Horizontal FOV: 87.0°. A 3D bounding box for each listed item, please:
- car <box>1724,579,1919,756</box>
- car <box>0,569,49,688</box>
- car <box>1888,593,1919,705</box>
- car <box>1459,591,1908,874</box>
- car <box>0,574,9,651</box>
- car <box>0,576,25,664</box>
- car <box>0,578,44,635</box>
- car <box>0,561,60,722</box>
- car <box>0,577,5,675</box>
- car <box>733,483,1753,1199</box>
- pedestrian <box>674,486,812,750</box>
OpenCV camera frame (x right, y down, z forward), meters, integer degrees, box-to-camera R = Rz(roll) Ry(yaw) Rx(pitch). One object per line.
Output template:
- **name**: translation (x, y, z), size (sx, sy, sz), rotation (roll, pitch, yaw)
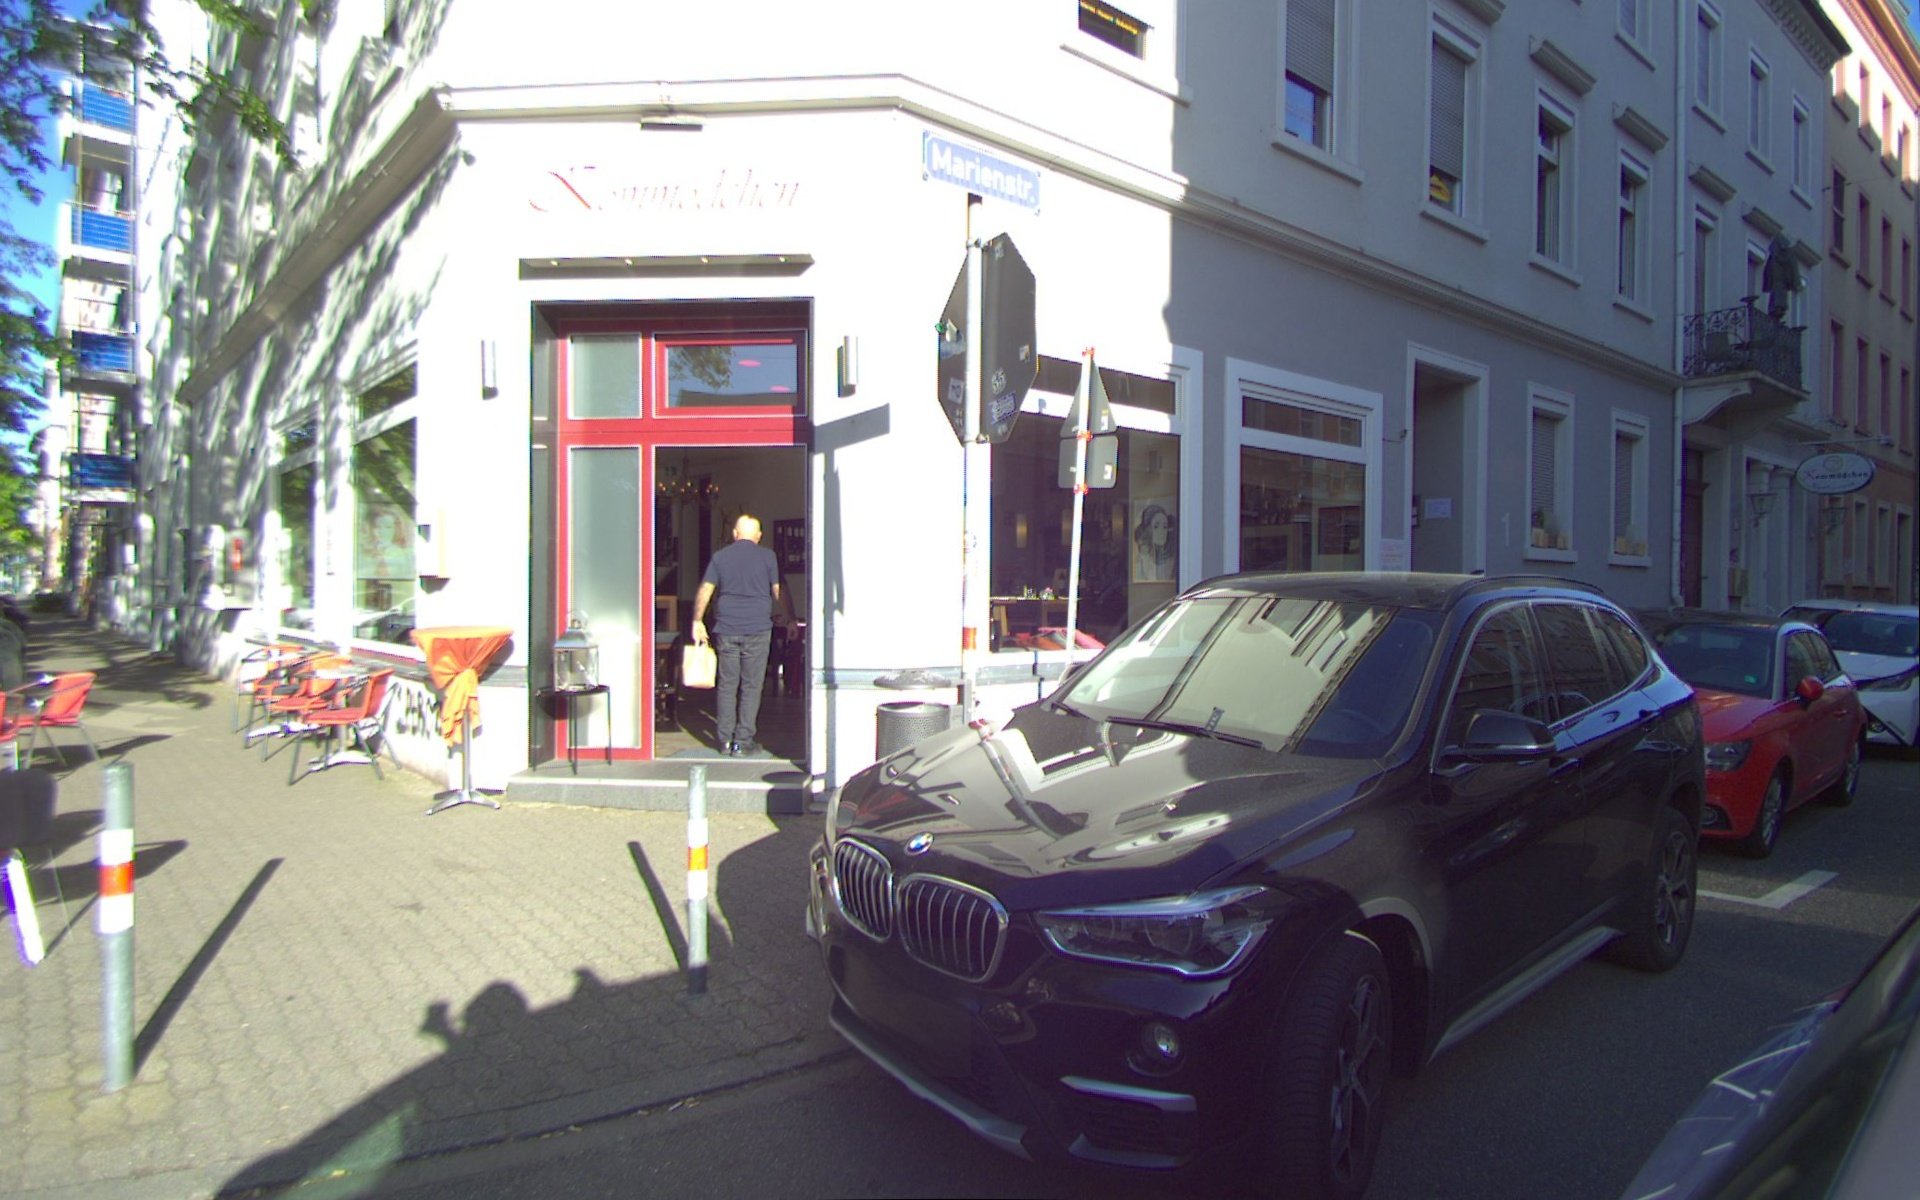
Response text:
- **car**: translation (9.771, 0.622, 10.862), size (3.720, 1.607, 1.640), rotation (0, -1, -39)
- **car**: translation (-14.153, 0.418, 12.441), size (1.604, 1.574, 4.099), rotation (1, 2, 26)
- **car**: translation (15.104, 0.663, 14.741), size (4.113, 1.530, 1.683), rotation (0, -1, -38)
- **car**: translation (5.358, 0.719, 7.320), size (3.883, 1.522, 1.649), rotation (0, -1, -39)
- **car**: translation (-20.673, 0.280, 18.910), size (1.613, 1.506, 4.076), rotation (2, 3, 40)
- **car**: translation (-18.090, 0.386, 16.363), size (1.607, 1.506, 4.091), rotation (2, 3, 31)
- **car**: translation (-26.965, 0.216, 26.601), size (1.596, 1.506, 4.120), rotation (1, 2, 13)
- **car**: translation (-10.773, 0.452, 8.820), size (1.601, 1.574, 4.107), rotation (1, 2, 22)
- **car**: translation (-16.394, 0.440, 14.207), size (1.608, 1.506, 4.089), rotation (2, 3, 32)
- **car**: translation (1.401, 0.624, 3.943), size (4.121, 1.683, 1.764), rotation (0, -1, -39)
- **pedestrian**: translation (-1.569, 0.125, 7.450), size (0.848, 1.822, 0.852), rotation (1, 0, -3)
